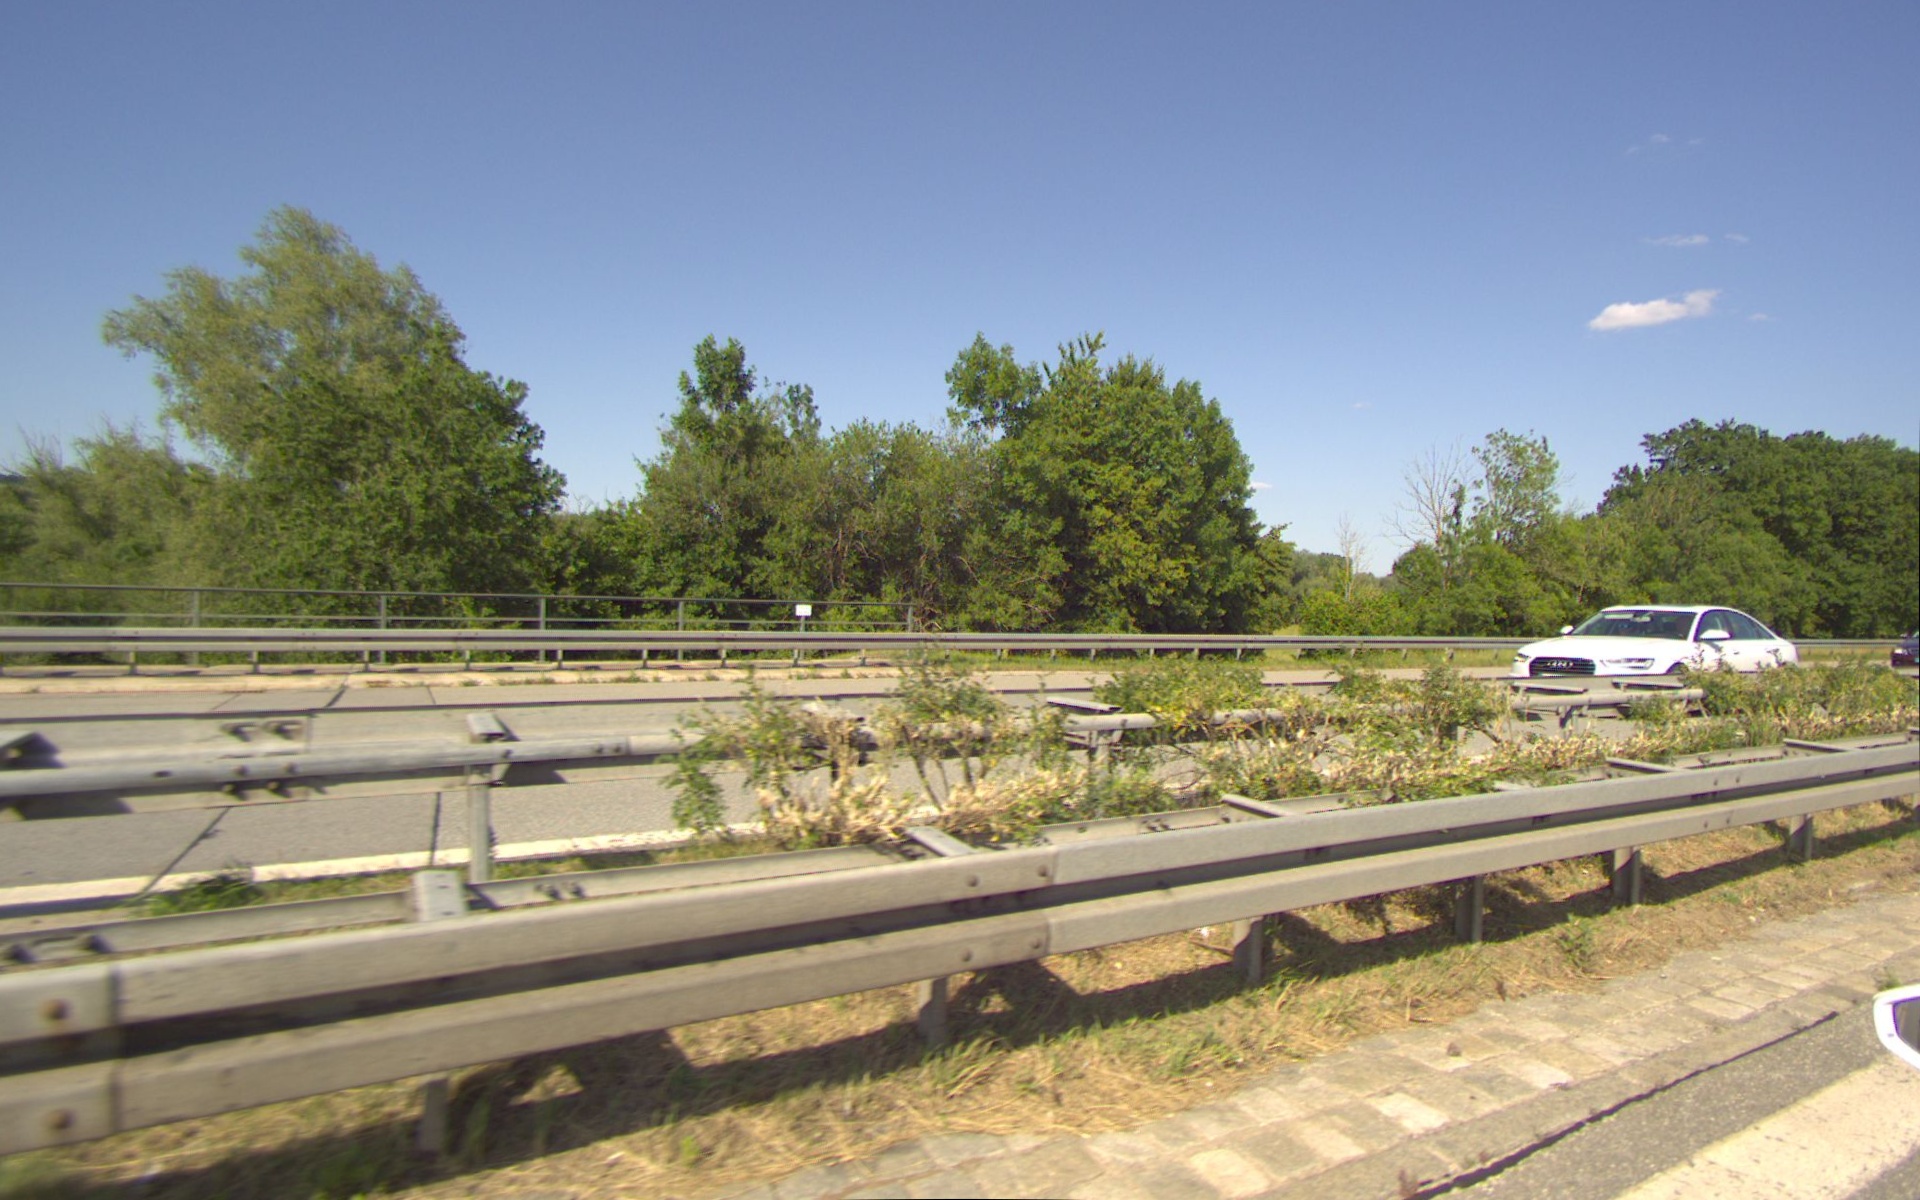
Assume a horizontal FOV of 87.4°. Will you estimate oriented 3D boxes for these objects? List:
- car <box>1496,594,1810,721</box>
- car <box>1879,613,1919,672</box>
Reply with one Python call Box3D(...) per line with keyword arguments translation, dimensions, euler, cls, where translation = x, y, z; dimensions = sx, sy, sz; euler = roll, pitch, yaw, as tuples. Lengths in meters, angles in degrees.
Box3D(translation=(9.465, 0.698, 13.616), dimensions=(4.598, 1.453, 1.811), euler=(1, 0, -32), cls="car")
Box3D(translation=(26.735, 1.152, 27.074), dimensions=(4.456, 1.489, 1.763), euler=(1, 0, -32), cls="car")
